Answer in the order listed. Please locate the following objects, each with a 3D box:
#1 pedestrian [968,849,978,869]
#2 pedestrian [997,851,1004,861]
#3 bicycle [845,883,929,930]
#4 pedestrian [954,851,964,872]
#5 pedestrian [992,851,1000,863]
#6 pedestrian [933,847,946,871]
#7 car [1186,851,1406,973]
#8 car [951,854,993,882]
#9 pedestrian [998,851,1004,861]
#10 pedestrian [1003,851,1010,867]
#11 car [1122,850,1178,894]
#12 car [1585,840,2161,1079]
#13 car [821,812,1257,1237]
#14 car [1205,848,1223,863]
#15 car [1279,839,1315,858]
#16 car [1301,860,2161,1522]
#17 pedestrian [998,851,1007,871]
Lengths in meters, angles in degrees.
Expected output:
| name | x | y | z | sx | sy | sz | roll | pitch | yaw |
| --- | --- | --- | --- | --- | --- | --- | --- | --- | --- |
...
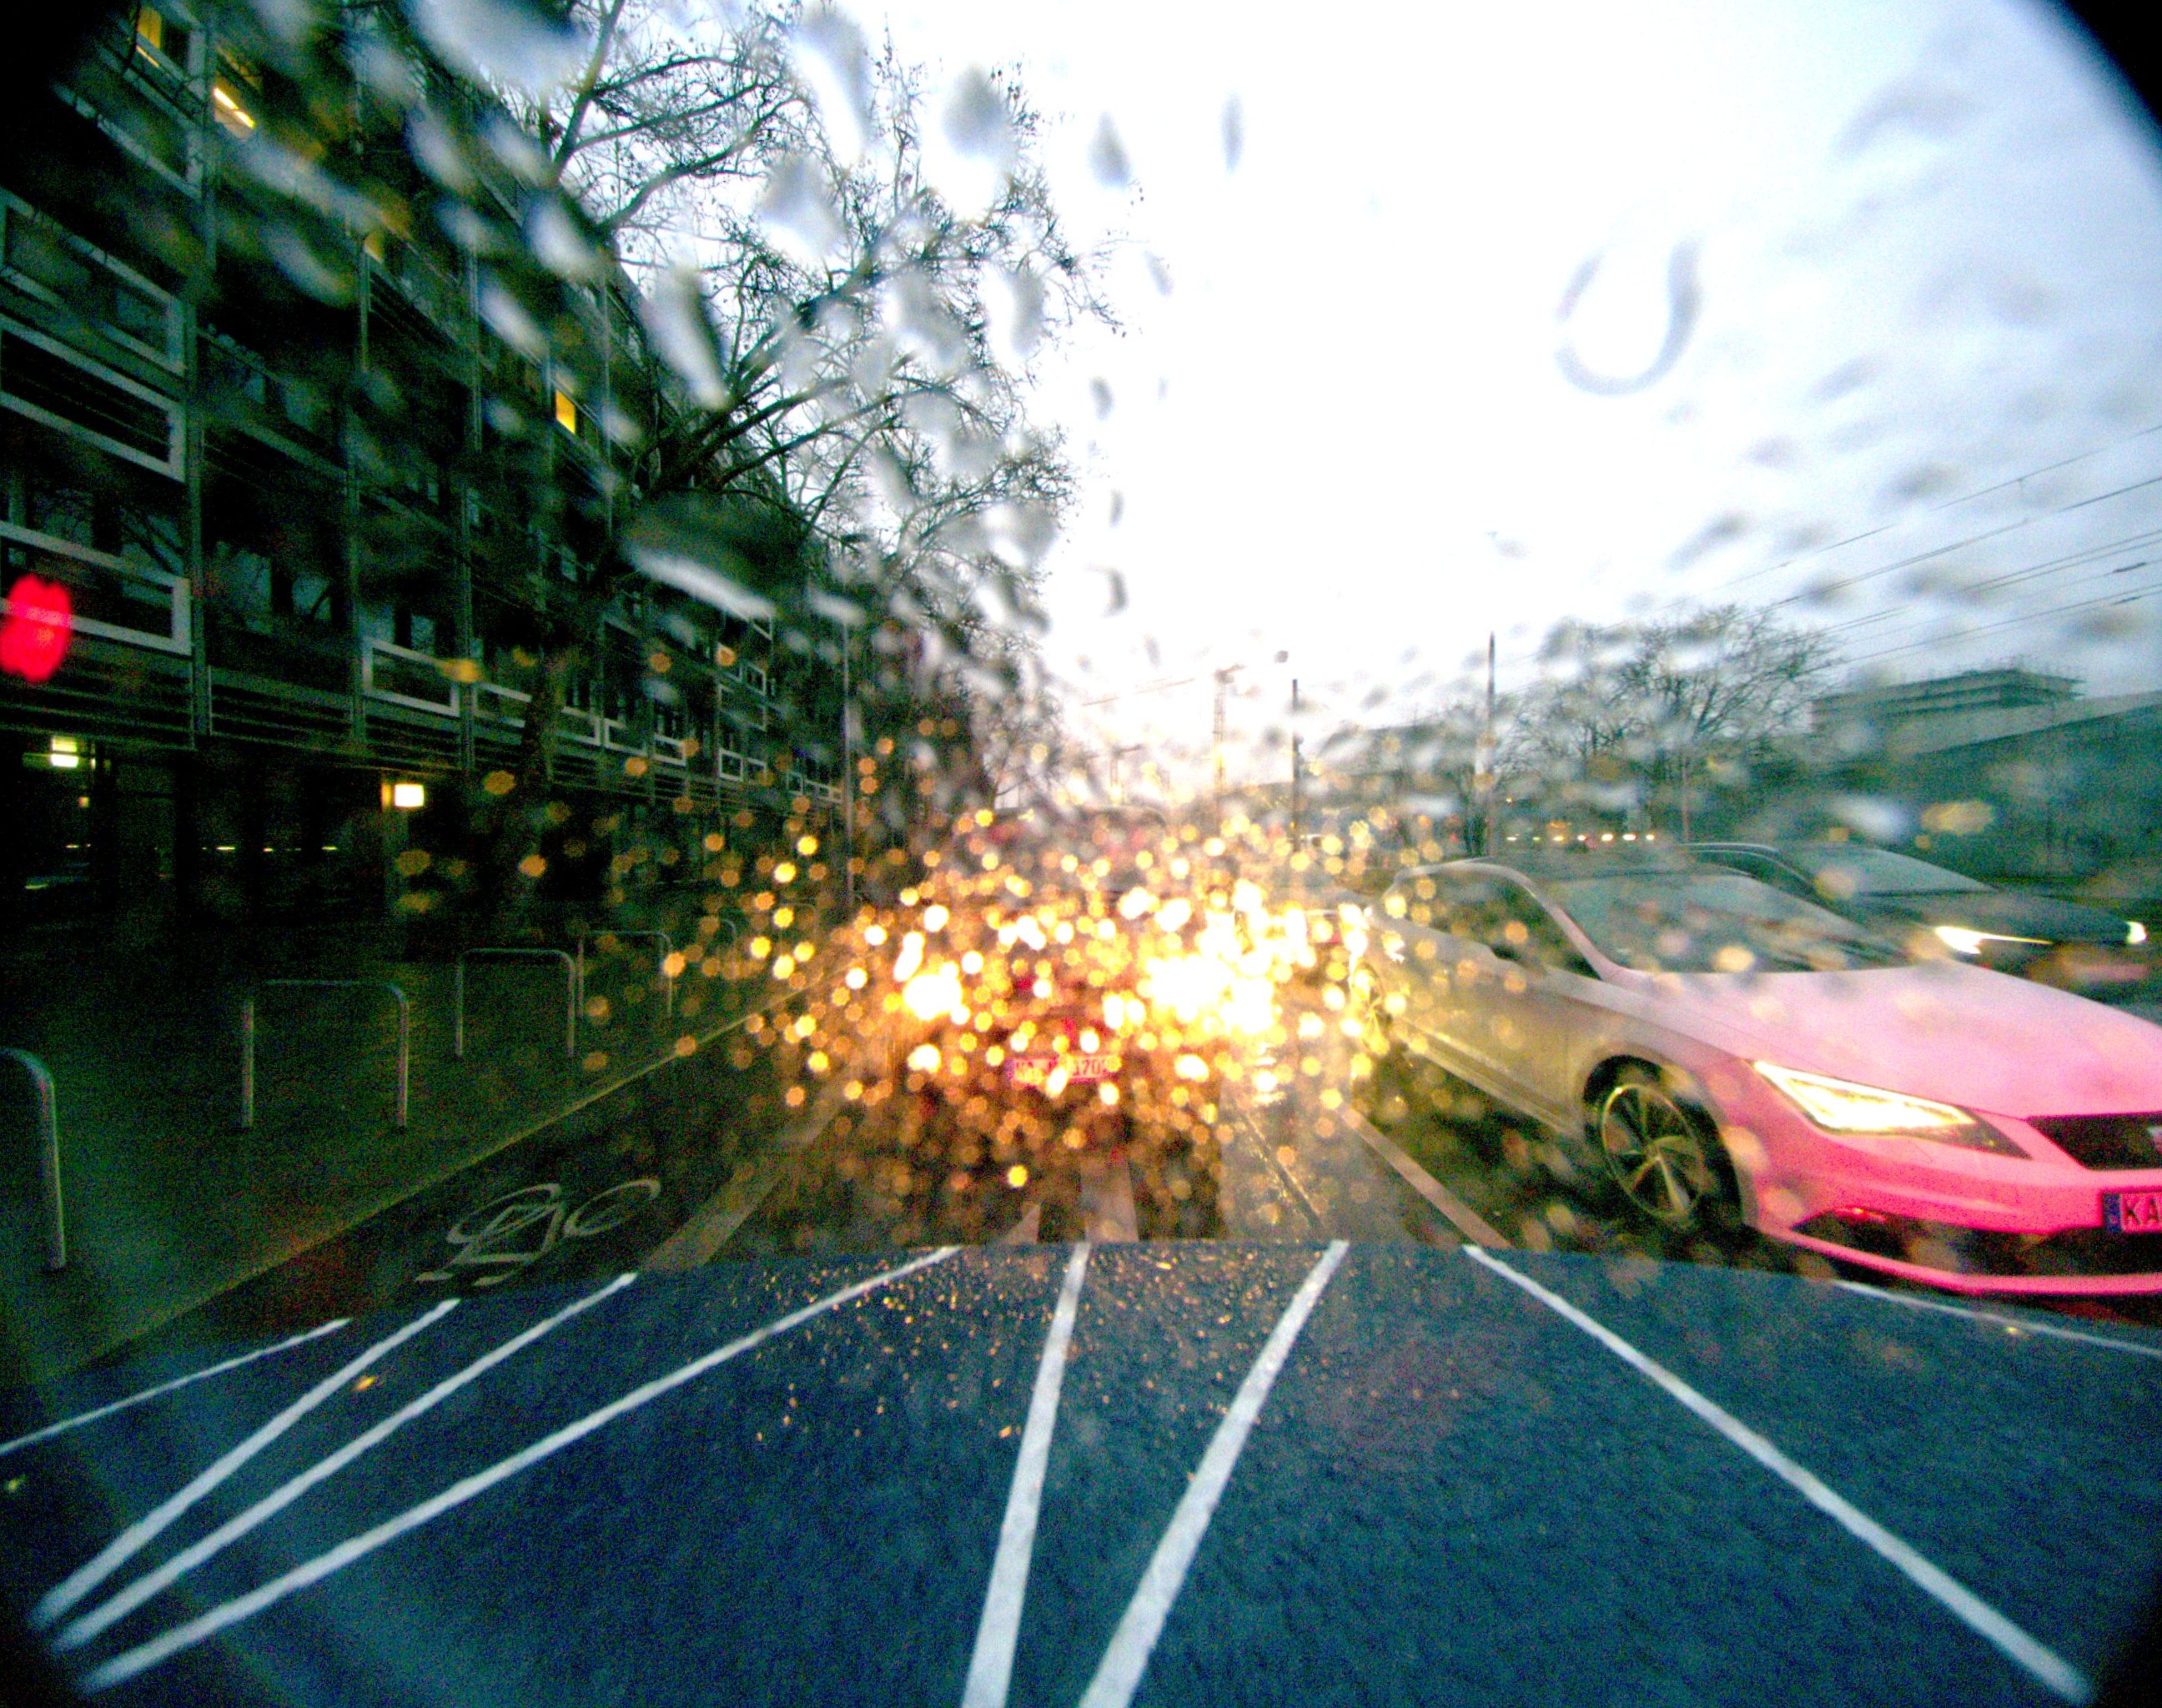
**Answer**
| name | x | y | z | sx | sy | sz | roll | pitch | yaw |
| --- | --- | --- | --- | --- | --- | --- | --- | --- | --- |
| pedestrian | -9.440 | 0.450 | 66.186 | 0.766 | 1.740 | 0.928 | 0 | 1 | -4 |
| pedestrian | -11.034 | 0.212 | 104.337 | 0.719 | 1.330 | 0.791 | -2 | 1 | 1 |
| bicycle | -4.485 | 1.215 | 17.613 | 1.704 | 0.987 | 0.879 | 1 | 1 | 0 |
| pedestrian | -10.409 | 0.647 | 64.857 | 0.766 | 1.740 | 0.928 | 0 | 1 | -4 |
| pedestrian | -10.017 | 0.332 | 89.890 | 0.782 | 1.330 | 0.751 | -2 | 1 | 1 |
| pedestrian | -12.780 | 0.446 | 68.746 | 1.062 | 2.182 | 1.110 | -2 | 1 | -11 |
| car | 2.960 | 0.704 | 11.598 | 1.999 | 1.478 | 4.505 | -1 | 0 | -1 |
| car | -6.158 | 0.746 | 43.308 | 1.713 | 1.455 | 3.999 | -2 | 1 | 1 |
| pedestrian | -10.823 | 0.221 | 102.520 | 0.719 | 1.330 | 0.791 | -2 | 1 | 1 |
| pedestrian | -8.187 | 0.572 | 83.530 | 0.766 | 1.740 | 0.928 | 0 | 1 | -4 |
| car | 2.726 | 0.672 | 30.847 | 1.907 | 1.565 | 3.999 | -2 | 1 | 1 |
| car | 7.283 | 0.638 | 7.200 | 1.853 | 1.499 | 4.662 | -1 | 1 | -1 |
| car | -0.220 | 0.741 | 5.397 | 1.878 | 1.830 | 3.999 | -2 | 1 | -1 |
| car | 19.589 | 0.175 | 112.082 | 1.998 | 2.002 | 3.999 | -2 | 1 | 1 |
| car | 21.546 | -0.536 | 75.849 | 2.095 | 1.884 | 3.997 | -1 | 1 | -7 |
| car | 2.978 | 0.843 | 4.156 | 1.949 | 1.478 | 4.504 | -2 | 0 | -4 |
| pedestrian | -7.057 | 0.610 | 68.394 | 0.766 | 1.740 | 0.928 | 0 | 1 | -4 |
